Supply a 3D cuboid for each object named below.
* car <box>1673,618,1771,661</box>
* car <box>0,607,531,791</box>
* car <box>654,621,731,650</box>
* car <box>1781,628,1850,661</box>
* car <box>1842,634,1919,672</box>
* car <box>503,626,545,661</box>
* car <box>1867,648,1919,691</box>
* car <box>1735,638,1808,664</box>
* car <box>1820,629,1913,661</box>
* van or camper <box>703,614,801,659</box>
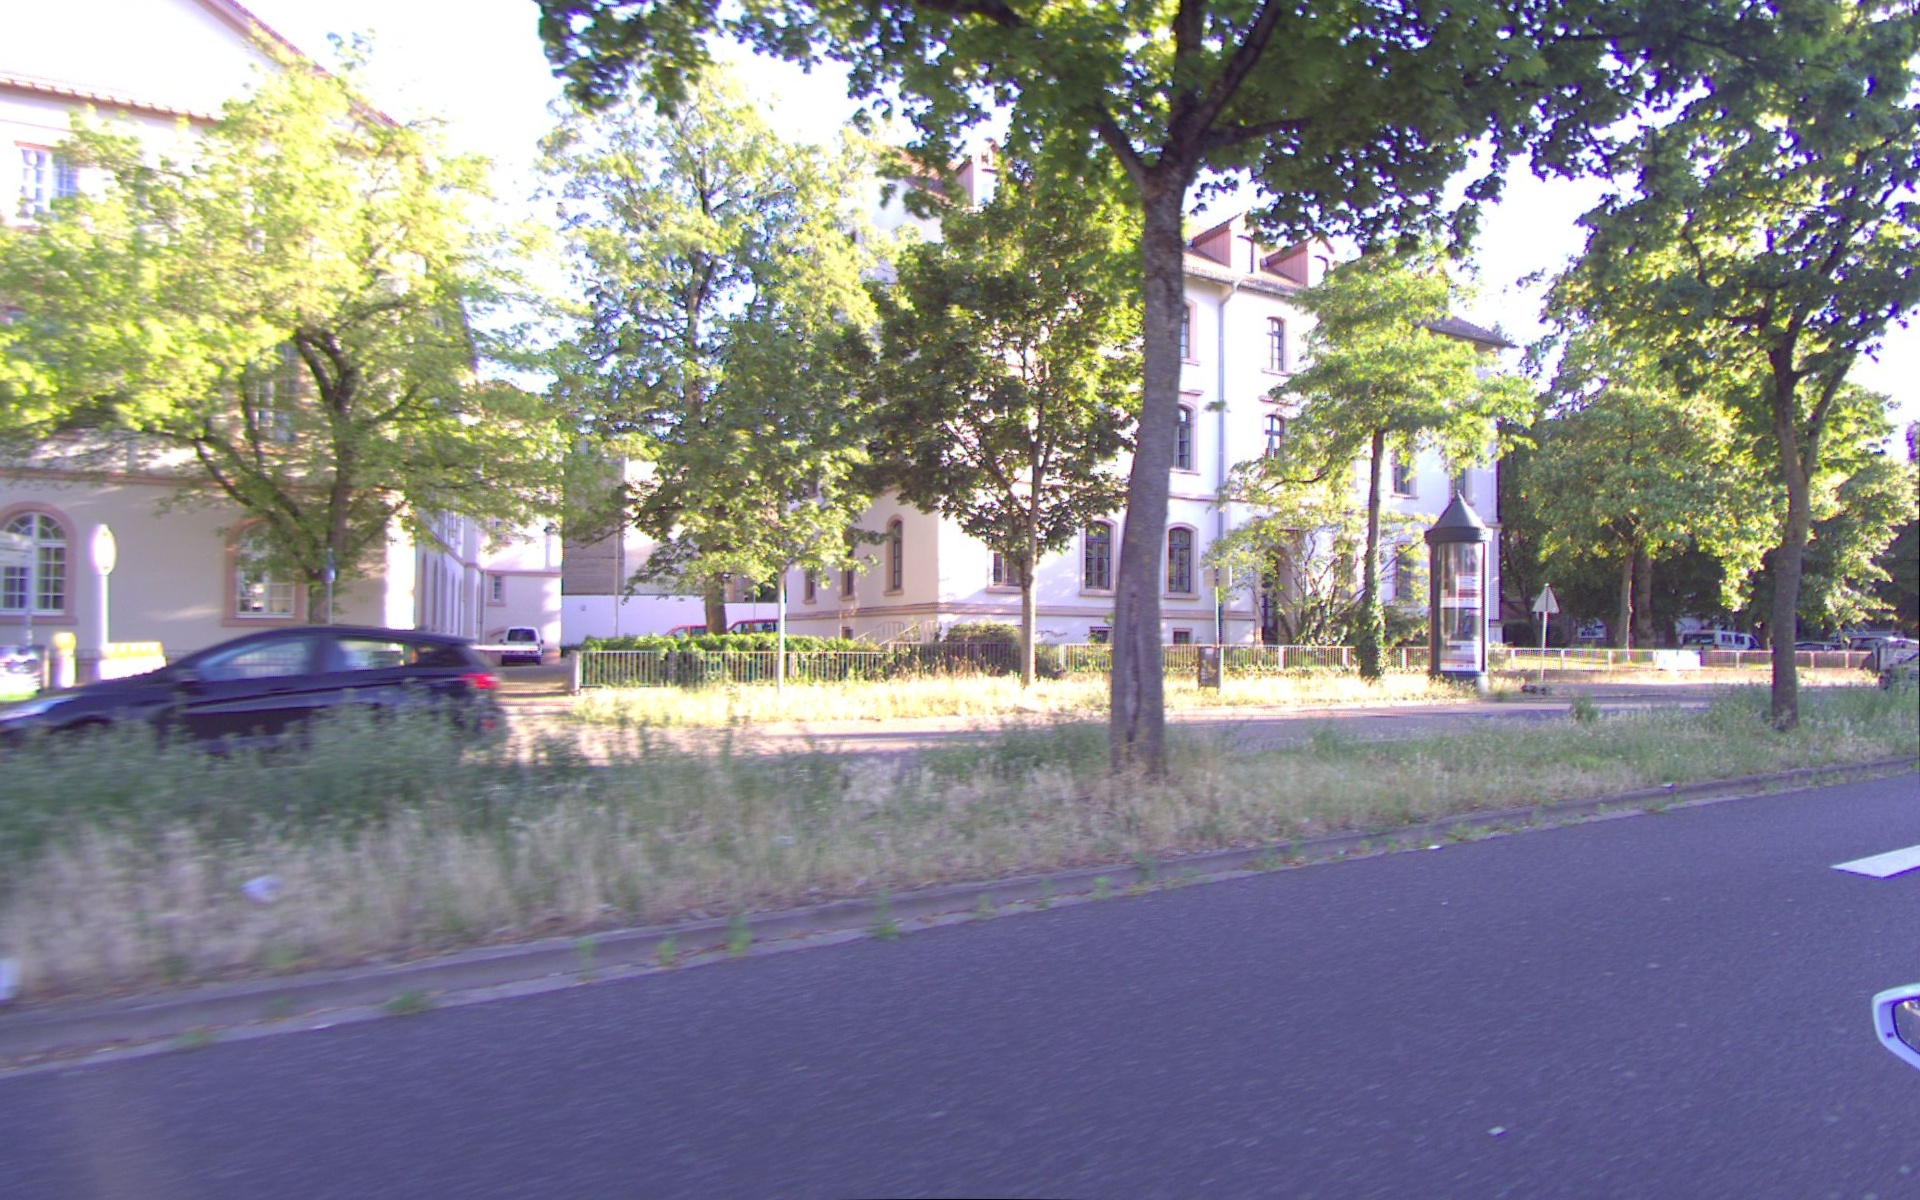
[{"bbox_3d":[43.416,2.256,57.248,5.024,2.319,2.211,2,-1,-22],"label":"car"},{"bbox_3d":[-6.306,0.901,9.541,3.958,1.435,1.767,2,-5,-29],"label":"car"},{"bbox_3d":[-15.135,2.038,56.845,3.767,1.518,1.984,2,0,-30],"label":"car"},{"bbox_3d":[53.343,2.775,62.632,3.951,1.907,1.985,2,0,-29],"label":"car"},{"bbox_3d":[46.133,2.637,50.258,3.951,1.819,1.811,2,-1,-29],"label":"car"},{"bbox_3d":[-20.871,2.072,48.033,1.755,1.568,3.985,1,-2,-24],"label":"car"},{"bbox_3d":[30.936,2.207,32.008,3.958,1.289,1.767,2,-5,-29],"label":"car"},{"bbox_3d":[44.280,2.771,54.777,3.951,1.350,1.725,2,-1,-29],"label":"car"},{"bbox_3d":[73.141,3.610,81.144,5.128,2.518,2.275,0,-2,10],"label":"car"},{"bbox_3d":[-10.223,1.799,49.382,4.319,2.107,1.984,2,0,-30],"label":"van or camper"}]
